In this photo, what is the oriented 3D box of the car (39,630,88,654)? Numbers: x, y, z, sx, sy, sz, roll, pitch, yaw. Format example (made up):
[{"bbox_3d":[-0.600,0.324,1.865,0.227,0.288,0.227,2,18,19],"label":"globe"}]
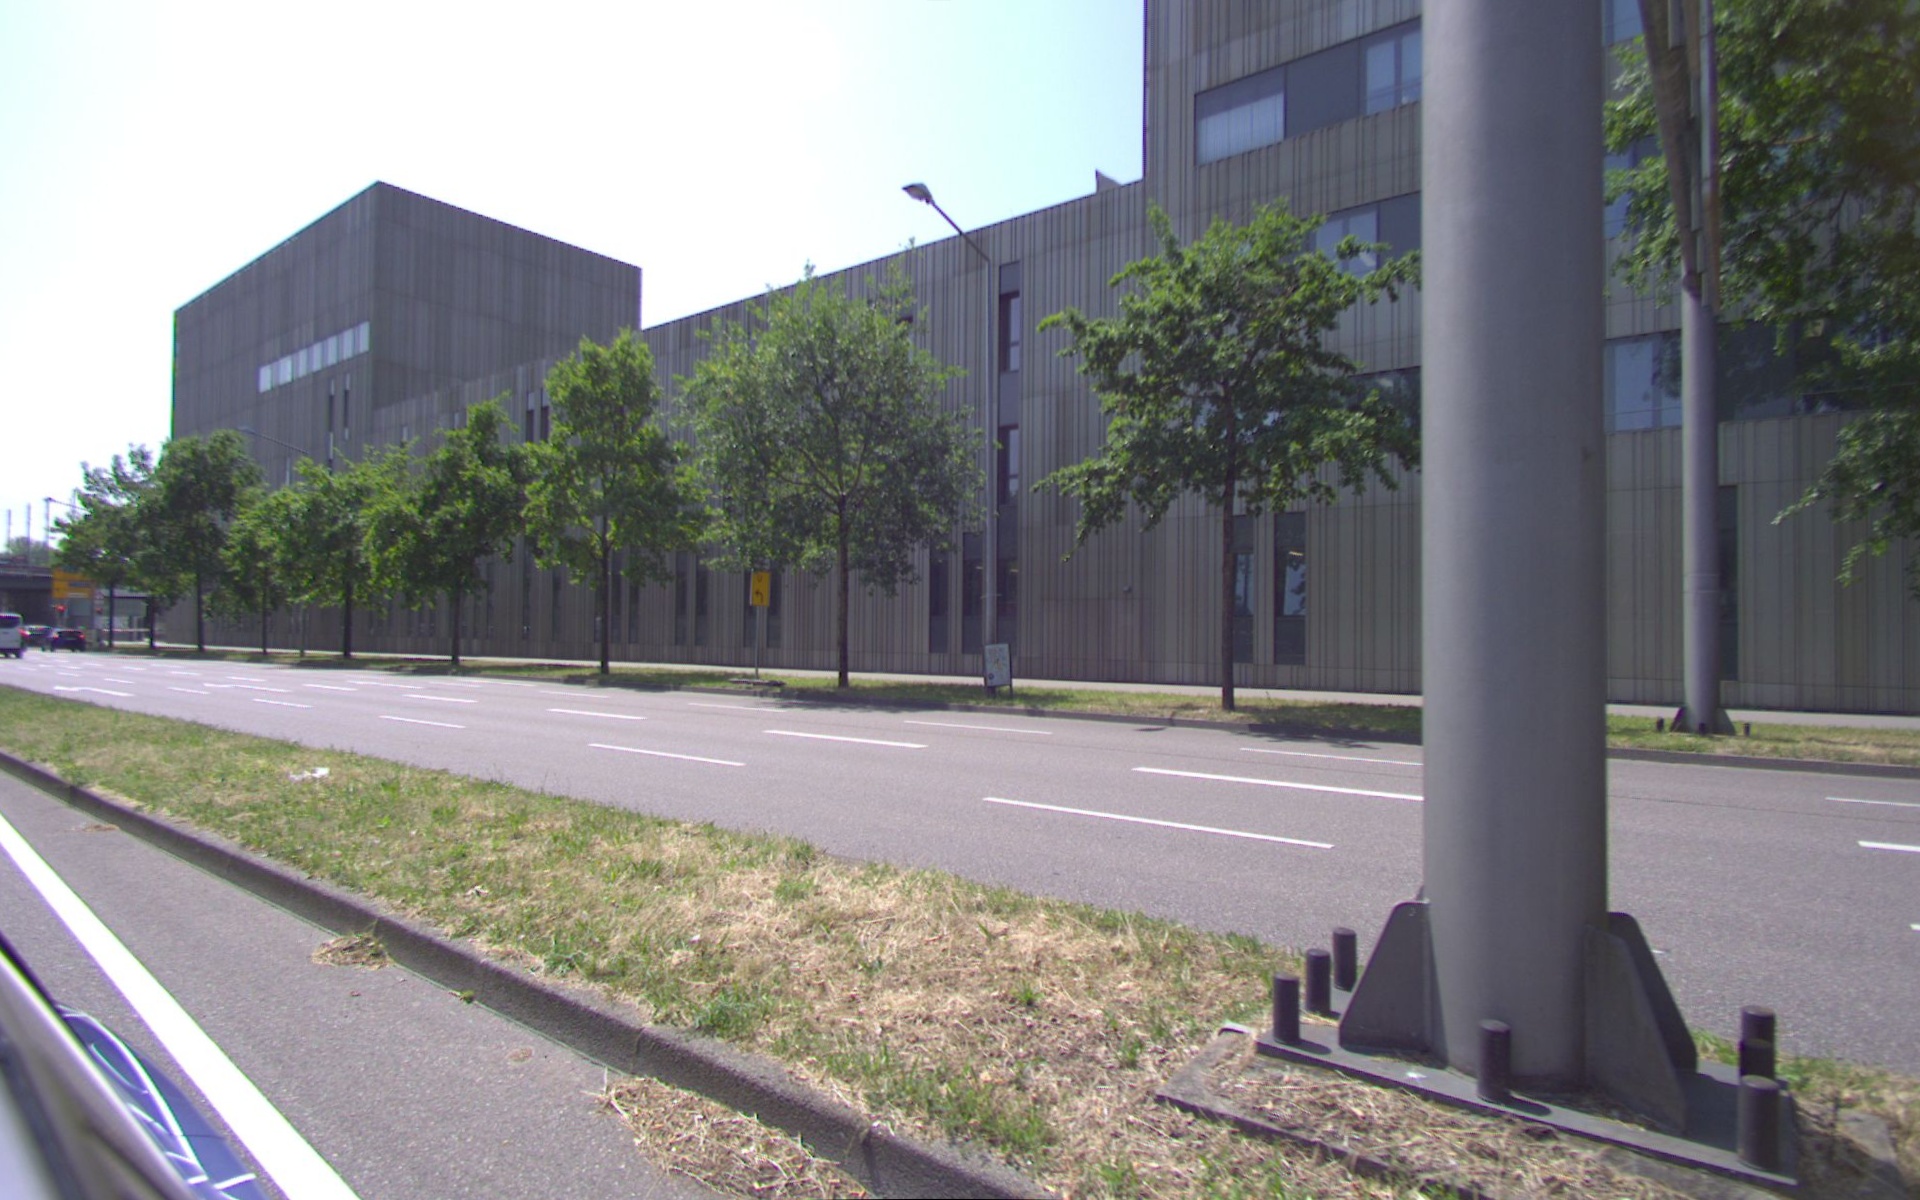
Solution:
[{"bbox_3d":[-55.876,2.582,63.084,4.012,1.467,1.605,-1,-3,39],"label":"car"}]

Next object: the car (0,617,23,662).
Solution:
[{"bbox_3d":[-44.971,1.810,46.602,4.891,2.008,1.891,-1,-3,38],"label":"car"}]

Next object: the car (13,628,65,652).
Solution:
[{"bbox_3d":[-61.458,2.628,67.522,4.363,1.555,1.793,-1,-2,38],"label":"car"}]
